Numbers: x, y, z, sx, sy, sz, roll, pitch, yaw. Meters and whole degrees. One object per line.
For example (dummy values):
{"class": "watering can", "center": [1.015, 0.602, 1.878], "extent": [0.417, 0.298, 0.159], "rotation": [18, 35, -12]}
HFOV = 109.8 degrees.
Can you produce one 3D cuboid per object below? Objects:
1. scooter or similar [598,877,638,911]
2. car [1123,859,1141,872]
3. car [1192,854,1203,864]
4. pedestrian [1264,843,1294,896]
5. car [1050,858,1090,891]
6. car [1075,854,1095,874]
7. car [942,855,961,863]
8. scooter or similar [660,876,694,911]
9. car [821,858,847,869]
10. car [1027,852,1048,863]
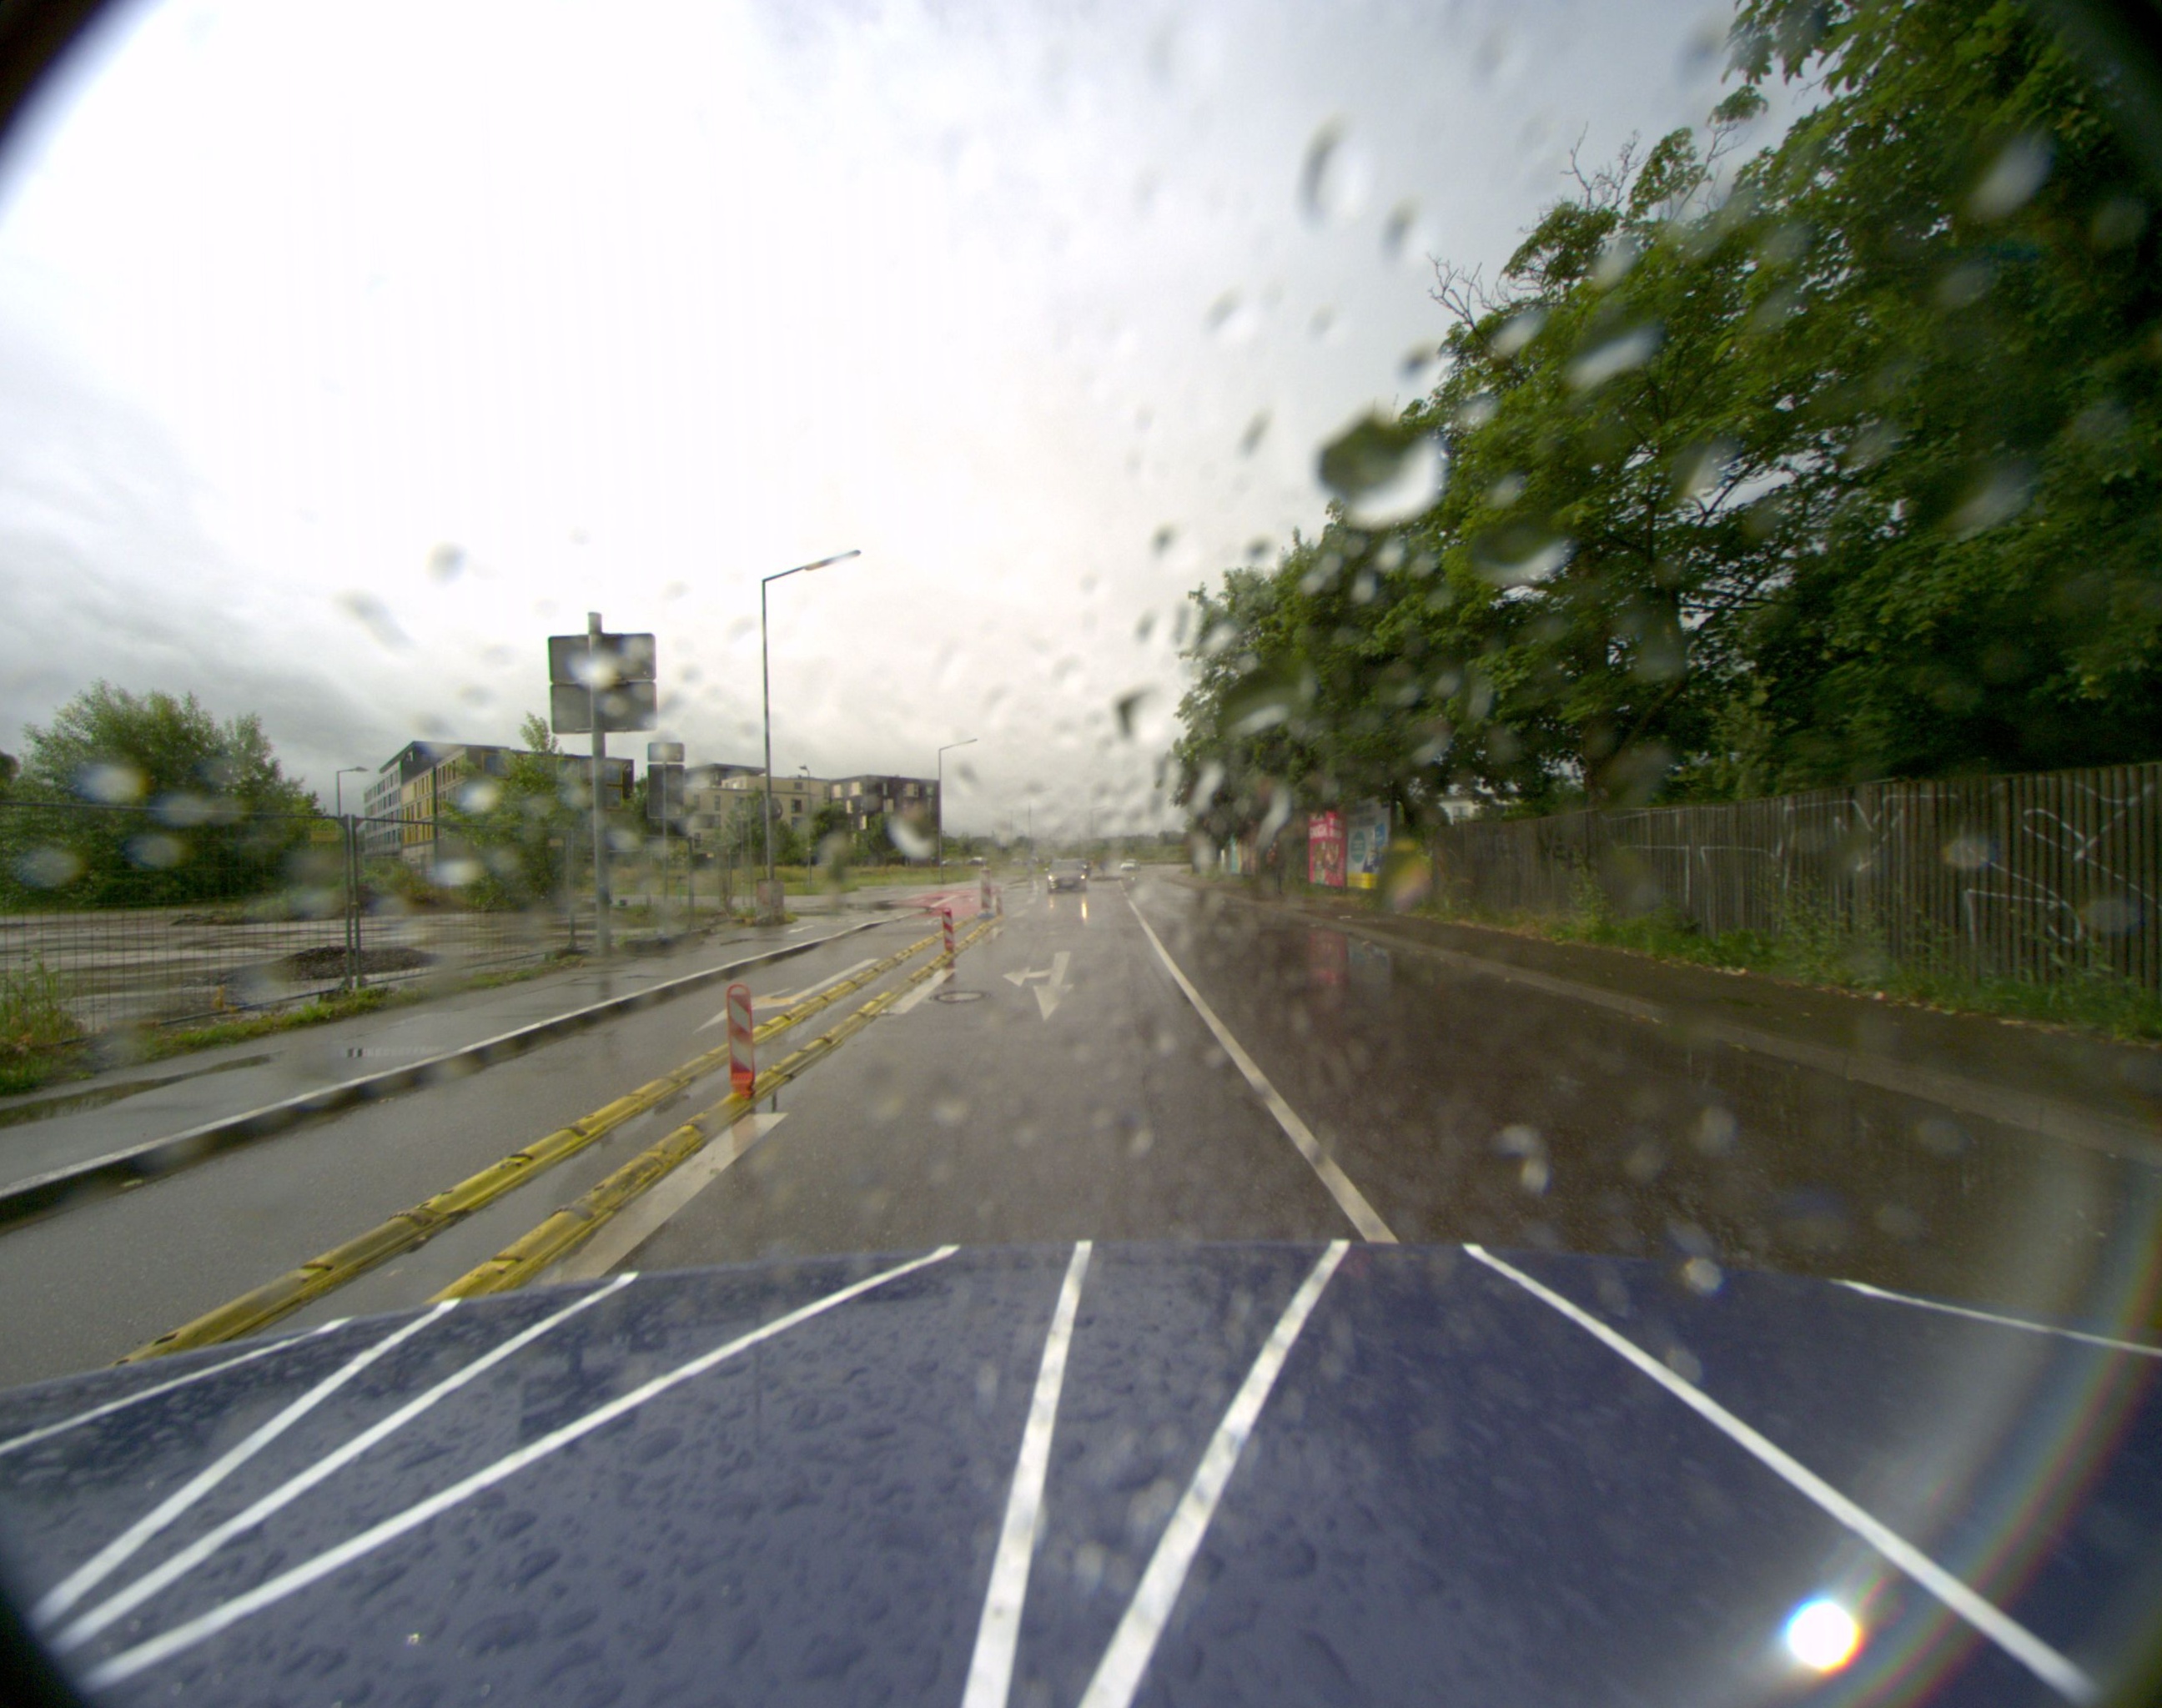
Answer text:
{"class": "scooter or similar", "center": [-16.383, 1.396, 26.871], "extent": [1.191, 1.143, 0.748], "rotation": [-1, 0, 33]}
{"class": "car", "center": [6.793, 1.542, 100.767], "extent": [1.795, 1.623, 3.822], "rotation": [-1, 0, 13]}
{"class": "car", "center": [20.849, 0.863, 135.967], "extent": [1.795, 1.623, 3.621], "rotation": [-1, 0, 11]}
{"class": "pedestrian", "center": [6.641, 0.526, 25.553], "extent": [0.841, 1.759, 0.644], "rotation": [0, 1, 0]}
{"class": "car", "center": [-0.556, 0.922, 35.415], "extent": [1.724, 1.423, 3.817], "rotation": [-1, 0, -2]}
{"class": "car", "center": [0.358, 0.864, 66.855], "extent": [1.647, 1.623, 3.669], "rotation": [-1, 0, 2]}
{"class": "car", "center": [-26.717, 1.077, 156.935], "extent": [3.657, 1.601, 1.596], "rotation": [-1, 0, -40]}
{"class": "scooter or similar", "center": [-13.726, 1.341, 25.825], "extent": [1.191, 1.143, 0.484], "rotation": [-1, 1, 34]}
{"class": "car", "center": [-36.851, 1.360, 113.303], "extent": [1.644, 1.573, 3.674], "rotation": [-1, 0, 24]}
{"class": "car", "center": [-8.813, 0.741, 155.108], "extent": [3.989, 2.002, 2.004], "rotation": [-1, 0, 42]}
